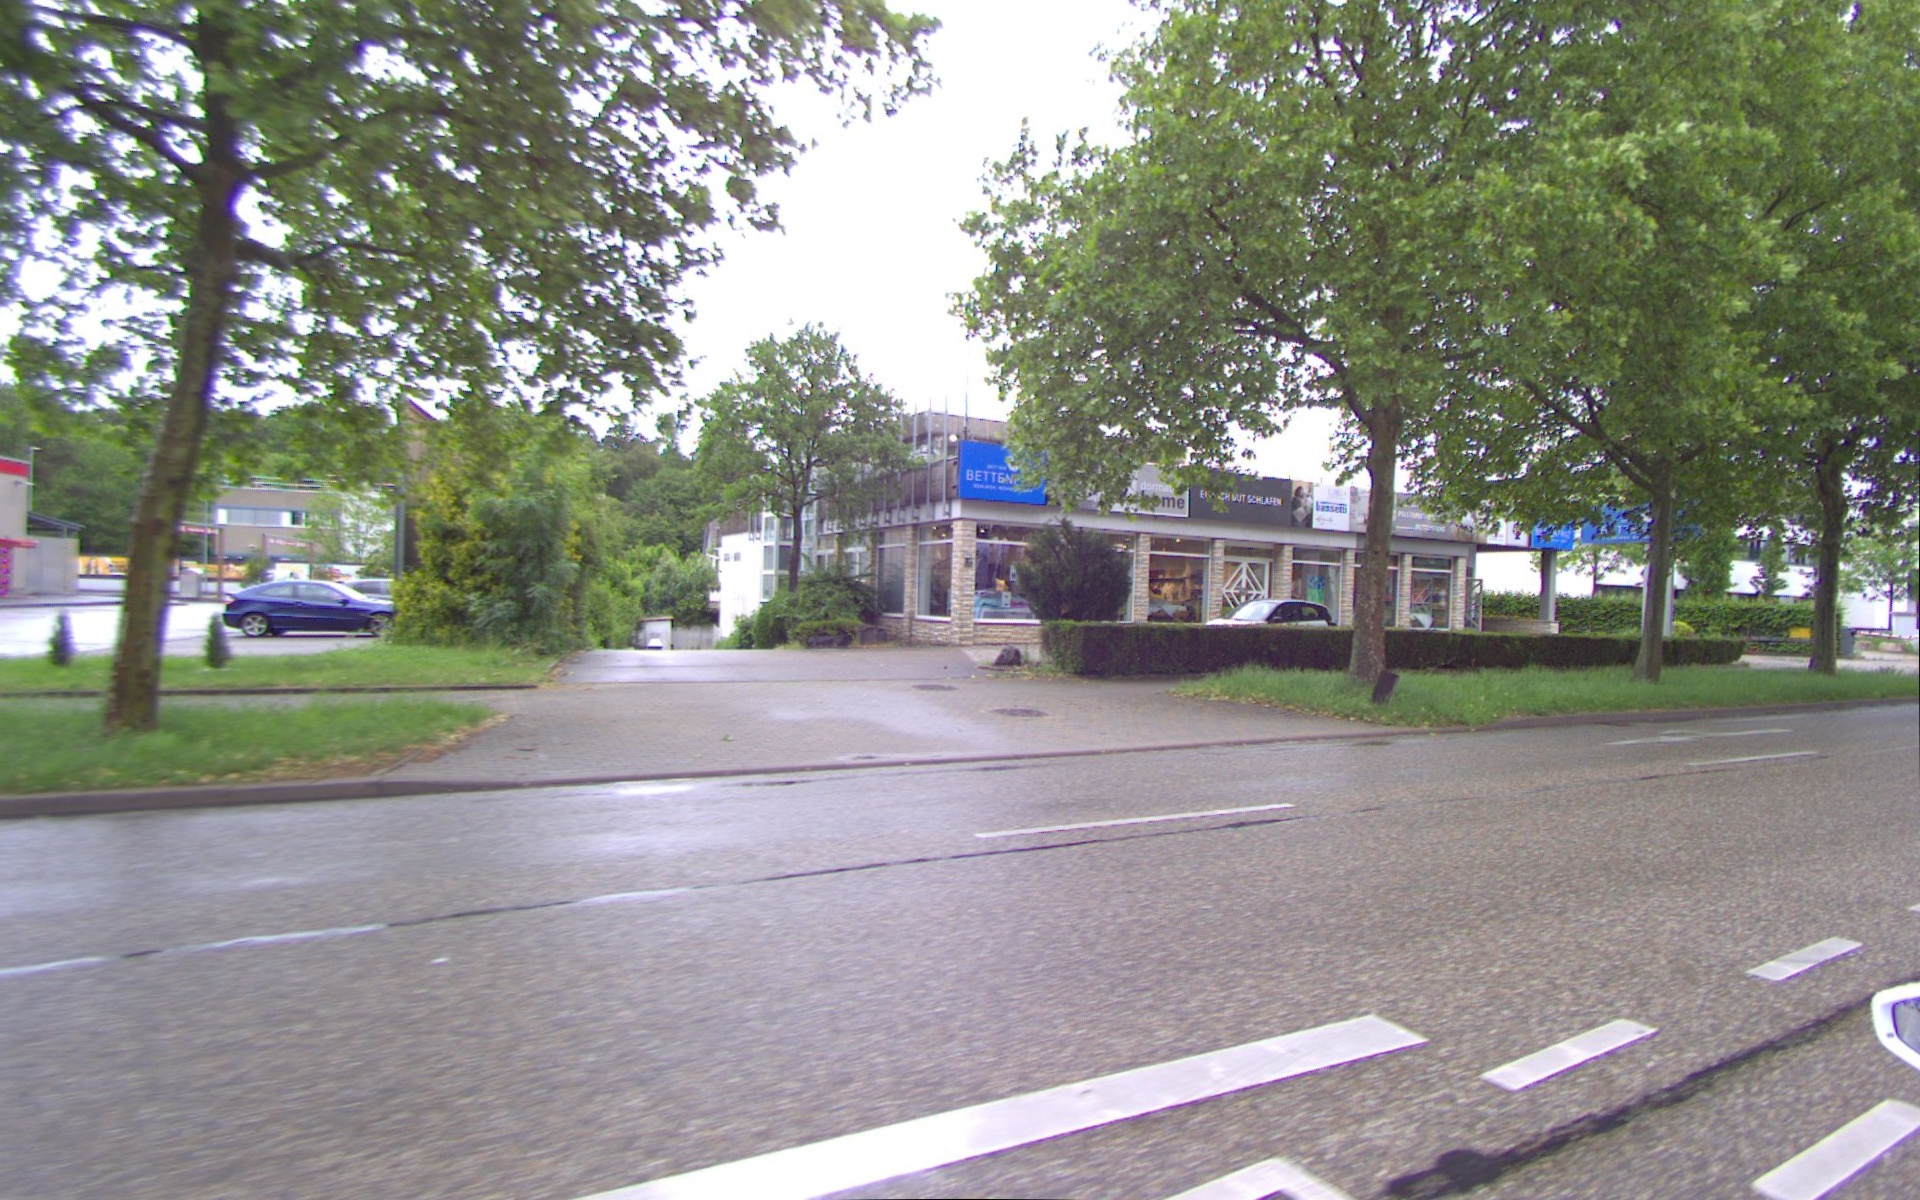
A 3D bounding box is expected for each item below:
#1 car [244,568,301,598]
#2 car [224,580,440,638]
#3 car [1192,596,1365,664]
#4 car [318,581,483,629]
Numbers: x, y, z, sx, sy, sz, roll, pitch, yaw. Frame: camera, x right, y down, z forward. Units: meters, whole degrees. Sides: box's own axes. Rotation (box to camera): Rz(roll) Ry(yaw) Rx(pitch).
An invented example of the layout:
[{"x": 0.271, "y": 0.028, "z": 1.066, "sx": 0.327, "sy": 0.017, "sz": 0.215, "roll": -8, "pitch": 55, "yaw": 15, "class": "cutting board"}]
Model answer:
[{"x": -39.857, "y": -0.960, "z": 58.314, "sx": 1.689, "sy": 1.651, "sz": 3.827, "roll": 1, "pitch": 0, "yaw": -19, "class": "car"}, {"x": -15.615, "y": 0.221, "z": 25.233, "sx": 4.245, "sy": 1.383, "sz": 1.864, "roll": 0, "pitch": 0, "yaw": -17, "class": "car"}, {"x": 7.645, "y": 0.712, "z": 24.048, "sx": 3.893, "sy": 1.506, "sz": 1.814, "roll": 1, "pitch": -1, "yaw": -30, "class": "car"}, {"x": -17.668, "y": 0.167, "z": 31.966, "sx": 4.246, "sy": 1.383, "sz": 1.864, "roll": 1, "pitch": 0, "yaw": -17, "class": "car"}]
